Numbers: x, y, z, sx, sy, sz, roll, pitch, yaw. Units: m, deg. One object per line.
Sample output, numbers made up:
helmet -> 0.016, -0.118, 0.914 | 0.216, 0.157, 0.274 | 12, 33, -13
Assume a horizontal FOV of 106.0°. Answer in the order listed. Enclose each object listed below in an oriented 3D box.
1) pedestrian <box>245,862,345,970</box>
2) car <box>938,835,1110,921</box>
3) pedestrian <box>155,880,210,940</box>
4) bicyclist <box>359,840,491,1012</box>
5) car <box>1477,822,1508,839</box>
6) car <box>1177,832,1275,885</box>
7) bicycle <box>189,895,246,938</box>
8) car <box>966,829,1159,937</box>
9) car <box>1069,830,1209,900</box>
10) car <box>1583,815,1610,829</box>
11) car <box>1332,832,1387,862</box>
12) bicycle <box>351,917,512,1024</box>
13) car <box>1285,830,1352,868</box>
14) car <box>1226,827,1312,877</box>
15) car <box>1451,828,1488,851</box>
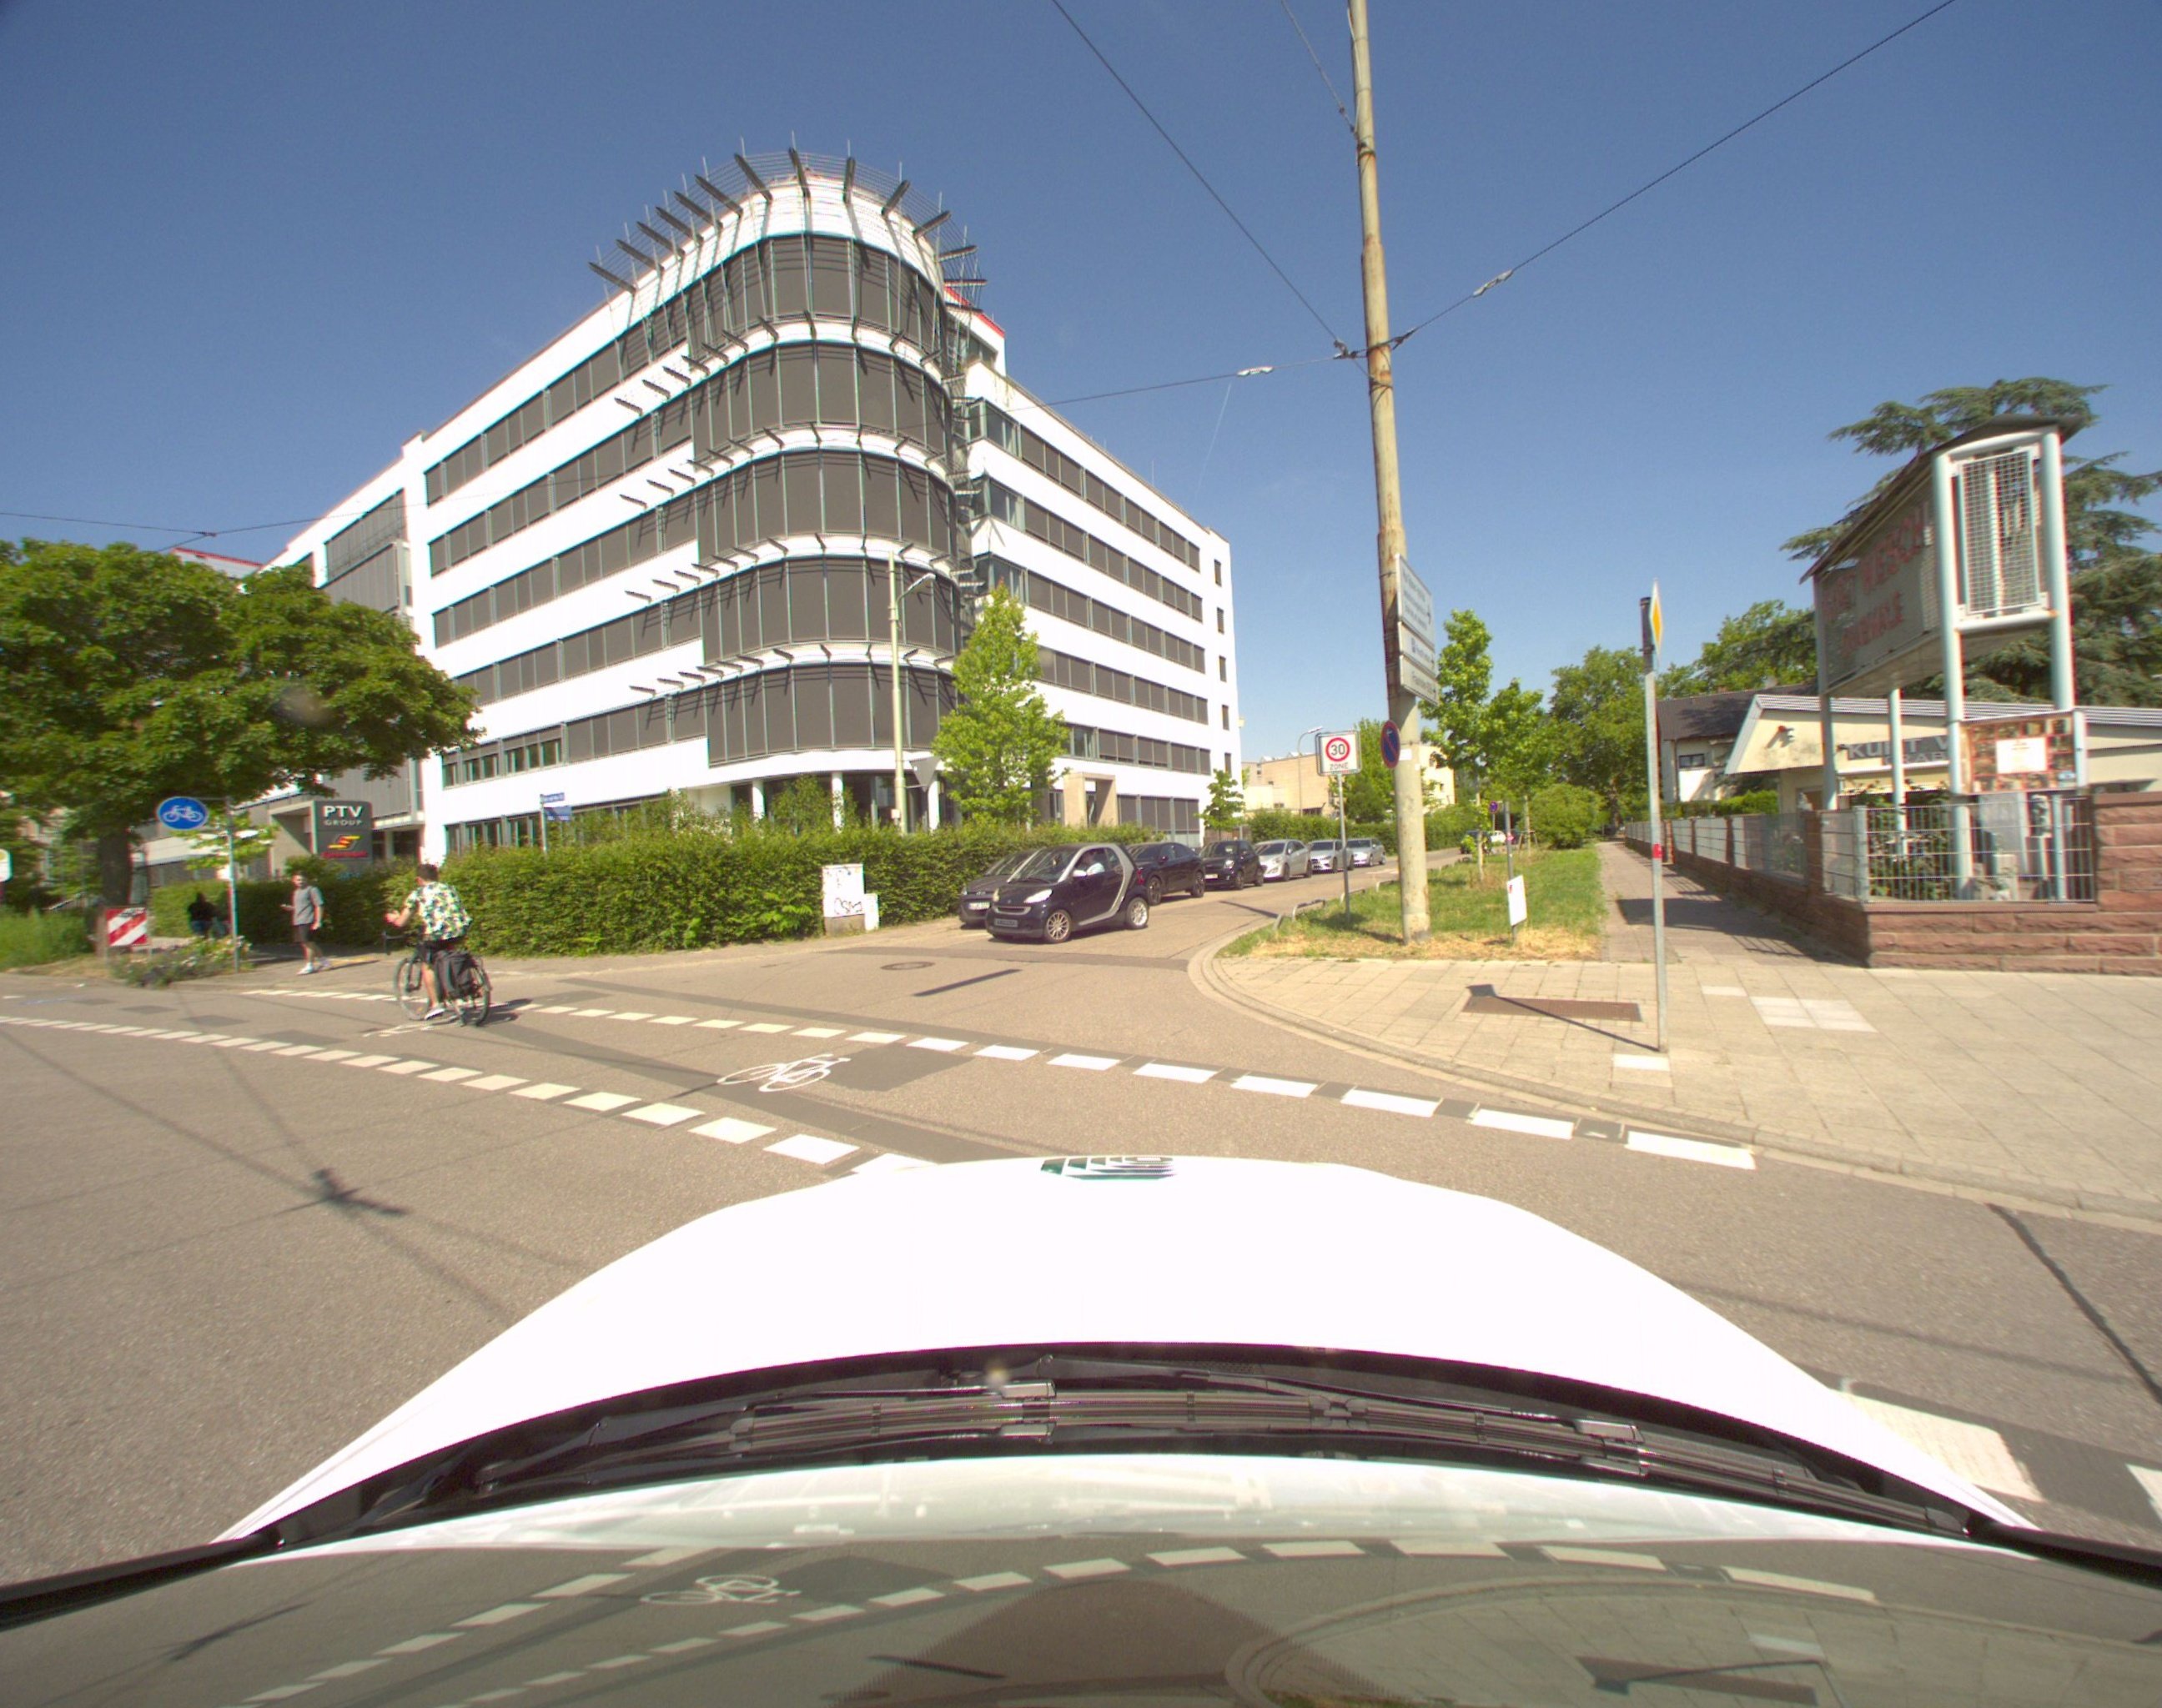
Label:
pedestrian -> -14.020, 1.081, 14.540 | 1.060, 1.818, 0.897 | -3, 0, 25
car -> -1.053, 0.436, 16.932 | 1.683, 1.527, 3.720 | -3, 1, 30
pedestrian -> -24.866, 1.541, 22.534 | 0.976, 1.563, 0.692 | -3, 2, 27
bicyclist -> -7.048, 0.739, 8.752 | 0.975, 1.724, 0.723 | -3, 0, 29
car -> 40.231, -2.296, 79.594 | 1.910, 1.449, 3.853 | -3, 1, 38
car -> 4.653, 0.111, 25.694 | 1.760, 1.444, 3.875 | -3, 0, 30
bicycle -> -24.350, 1.771, 22.951 | 2.040, 1.117, 0.642 | -3, 0, 31
car -> -0.257, 0.426, 13.875 | 2.994, 1.538, 1.461 | -4, 1, -44
car -> 1.597, 0.215, 20.644 | 1.792, 1.518, 4.196 | -3, 1, 30
car -> 62.511, -3.873, 98.758 | 1.911, 1.449, 3.851 | -3, 1, 45
car -> 13.763, -0.345, 40.113 | 1.792, 1.322, 3.853 | -3, 0, 30
bicycle -> -6.999, 1.201, 8.732 | 2.136, 0.984, 0.614 | -3, 0, 31
car -> 10.145, -0.237, 34.649 | 1.792, 1.403, 3.853 | -3, 0, 30
car -> 6.847, -0.118, 29.357 | 1.792, 1.505, 4.071 | -3, 1, 31
car -> 27.026, -1.046, 56.585 | 1.910, 1.449, 3.853 | -3, 1, 30
